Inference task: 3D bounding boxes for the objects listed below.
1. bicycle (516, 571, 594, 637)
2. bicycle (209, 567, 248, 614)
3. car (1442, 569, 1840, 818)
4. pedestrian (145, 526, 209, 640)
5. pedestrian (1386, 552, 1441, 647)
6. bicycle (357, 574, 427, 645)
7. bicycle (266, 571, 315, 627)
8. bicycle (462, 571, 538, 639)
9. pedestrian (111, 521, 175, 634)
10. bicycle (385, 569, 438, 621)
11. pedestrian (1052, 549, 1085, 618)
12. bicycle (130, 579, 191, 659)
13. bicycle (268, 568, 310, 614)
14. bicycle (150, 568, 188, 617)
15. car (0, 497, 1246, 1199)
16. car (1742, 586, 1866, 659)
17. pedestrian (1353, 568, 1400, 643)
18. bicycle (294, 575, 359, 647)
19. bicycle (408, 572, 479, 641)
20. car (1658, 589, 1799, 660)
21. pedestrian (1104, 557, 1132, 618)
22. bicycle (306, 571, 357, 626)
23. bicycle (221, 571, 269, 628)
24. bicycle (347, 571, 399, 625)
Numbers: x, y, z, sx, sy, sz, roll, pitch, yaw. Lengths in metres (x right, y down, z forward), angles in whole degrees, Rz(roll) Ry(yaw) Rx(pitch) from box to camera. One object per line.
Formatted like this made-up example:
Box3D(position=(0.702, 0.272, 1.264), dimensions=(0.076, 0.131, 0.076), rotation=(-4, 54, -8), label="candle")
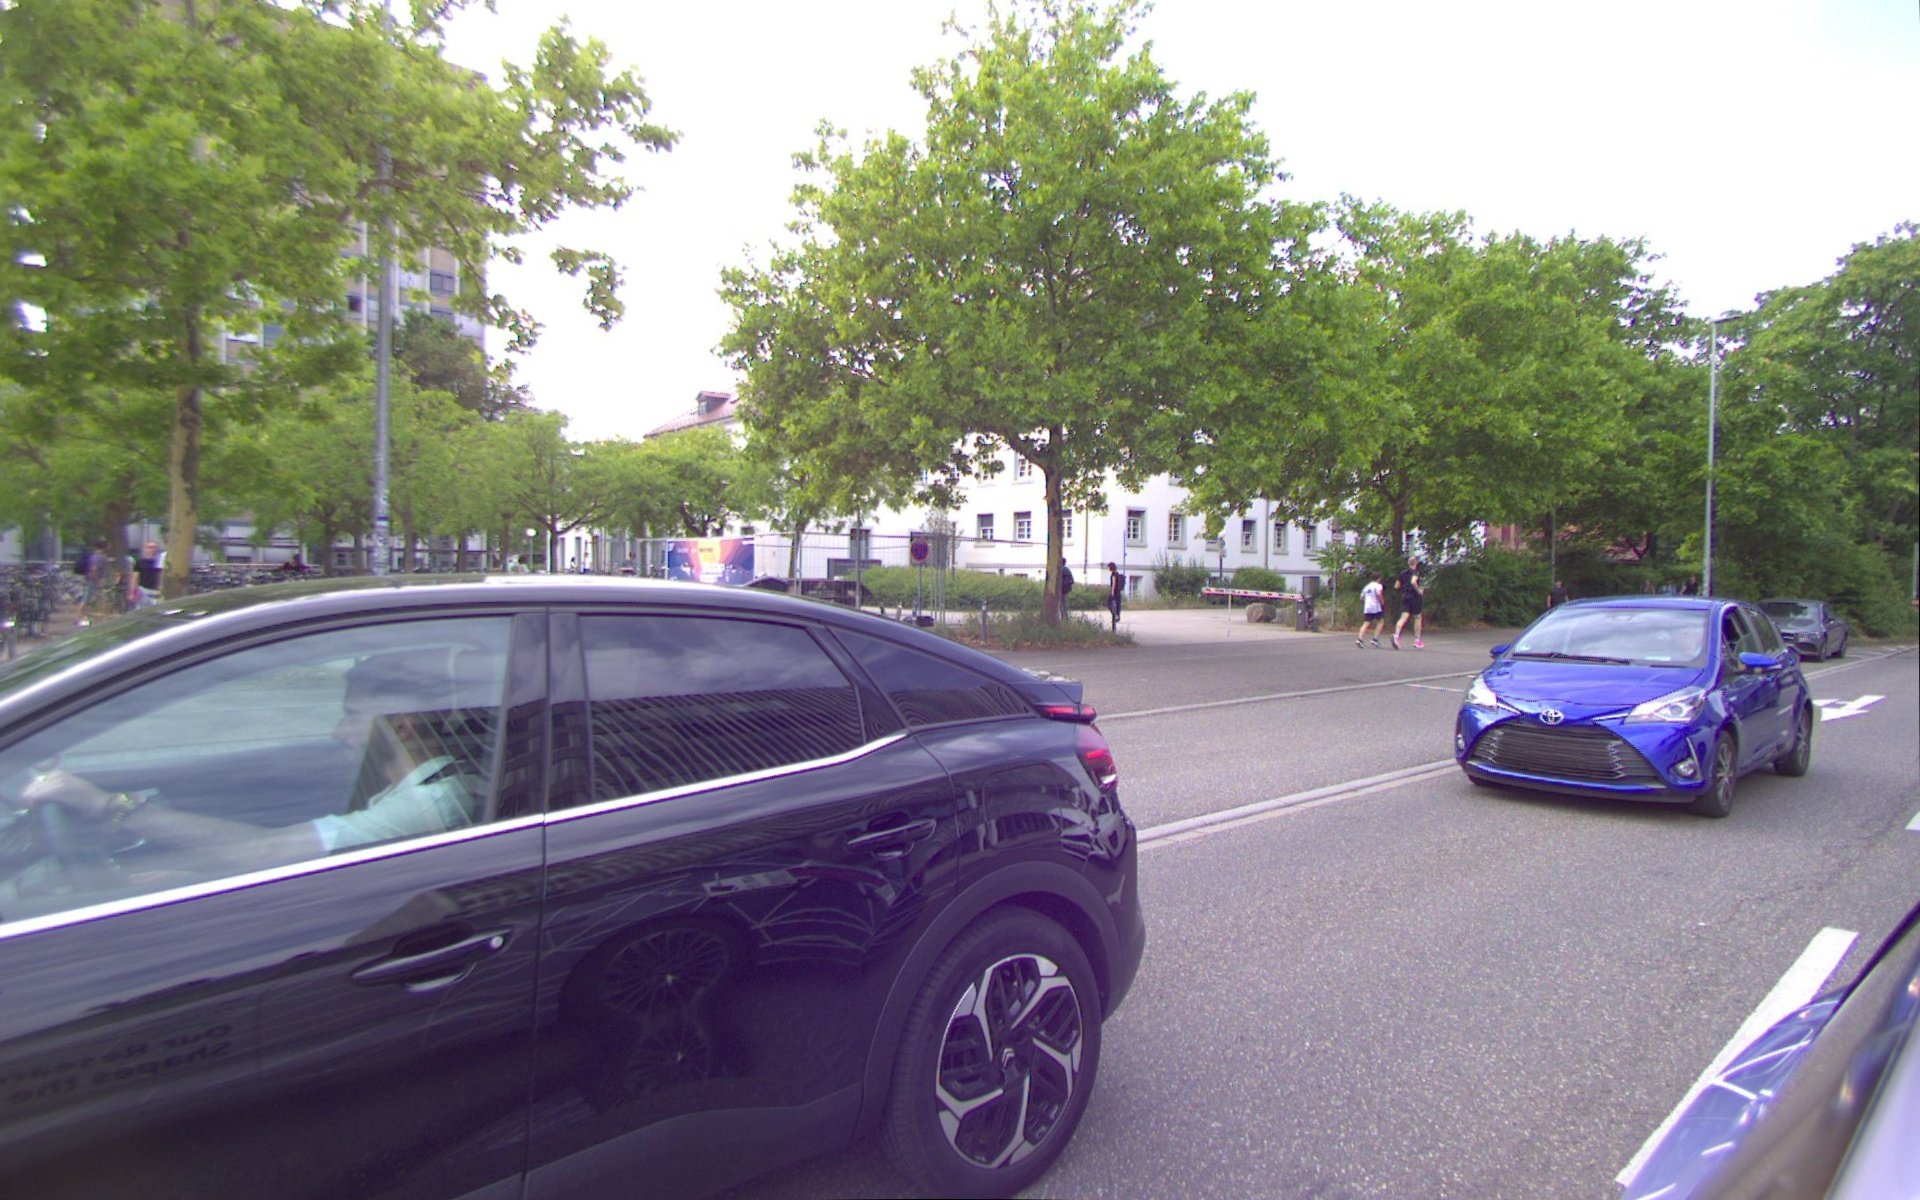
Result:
Box3D(position=(-7.685, 0.039, 19.119), dimensions=(0.705, 1.156, 2.472), rotation=(-1, 2, -38), label="bicycle")
Box3D(position=(-18.662, -0.268, 25.786), dimensions=(0.705, 1.156, 2.472), rotation=(-1, 2, -38), label="bicycle")
Box3D(position=(5.541, 0.532, 8.068), dimensions=(3.765, 1.512, 1.702), rotation=(-1, 2, -41), label="car")
Box3D(position=(-13.918, -0.296, 17.996), dimensions=(0.675, 1.988, 0.600), rotation=(0, 0, 11), label="pedestrian")
Box3D(position=(9.582, -0.018, 21.398), dimensions=(0.747, 1.957, 0.797), rotation=(0, 1, -41), label="pedestrian")
Box3D(position=(-10.075, 0.134, 17.905), dimensions=(0.705, 1.156, 2.472), rotation=(-1, 2, -38), label="bicycle")
Box3D(position=(-14.766, -0.051, 22.292), dimensions=(0.705, 1.156, 2.472), rotation=(-1, 2, -38), label="bicycle")
Box3D(position=(-8.461, 0.053, 18.542), dimensions=(0.705, 1.156, 2.472), rotation=(-1, 2, -38), label="bicycle")
Box3D(position=(-14.639, -0.402, 18.150), dimensions=(0.675, 1.988, 0.600), rotation=(0, 0, 11), label="pedestrian")
Box3D(position=(-12.919, -0.150, 23.805), dimensions=(0.705, 1.156, 2.472), rotation=(-1, 2, -38), label="bicycle")
Box3D(position=(2.810, -0.423, 26.232), dimensions=(0.583, 1.760, 0.586), rotation=(0, 1, -39), label="pedestrian")
Box3D(position=(-12.644, 0.258, 16.027), dimensions=(0.705, 1.156, 2.472), rotation=(-1, 2, -38), label="bicycle")
Box3D(position=(-17.668, -0.272, 26.622), dimensions=(0.705, 1.156, 2.472), rotation=(-1, 2, -38), label="bicycle")
Box3D(position=(-19.569, -0.207, 25.038), dimensions=(0.705, 1.156, 2.472), rotation=(-1, 2, -38), label="bicycle")
Box3D(position=(-1.365, 0.655, 2.262), dimensions=(4.100, 1.576, 1.804), rotation=(0, 0, -38), label="car")
Box3D(position=(20.618, 0.480, 24.671), dimensions=(3.948, 1.479, 1.606), rotation=(-1, 6, -41), label="car")
Box3D(position=(9.039, 0.112, 21.979), dimensions=(0.790, 1.584, 0.646), rotation=(0, 1, -41), label="pedestrian")
Box3D(position=(-10.998, 0.154, 17.527), dimensions=(0.705, 1.156, 2.472), rotation=(-1, 2, -38), label="bicycle")
Box3D(position=(-9.437, 0.081, 18.436), dimensions=(0.705, 1.156, 2.472), rotation=(-1, 2, -38), label="bicycle")
Box3D(position=(16.825, 0.512, 22.112), dimensions=(3.764, 1.386, 1.702), rotation=(1, 0, -41), label="car")
Box3D(position=(4.644, -0.380, 29.734), dimensions=(0.583, 1.774, 0.531), rotation=(0, 1, -36), label="pedestrian")
Box3D(position=(-14.165, -0.065, 22.773), dimensions=(0.705, 1.156, 2.472), rotation=(-1, 2, -38), label="bicycle")
Box3D(position=(-15.400, -0.034, 21.776), dimensions=(0.705, 1.156, 2.472), rotation=(-1, 2, -38), label="bicycle")
Box3D(position=(-13.535, -0.076, 23.300), dimensions=(0.705, 1.156, 2.472), rotation=(-1, 2, -38), label="bicycle")
